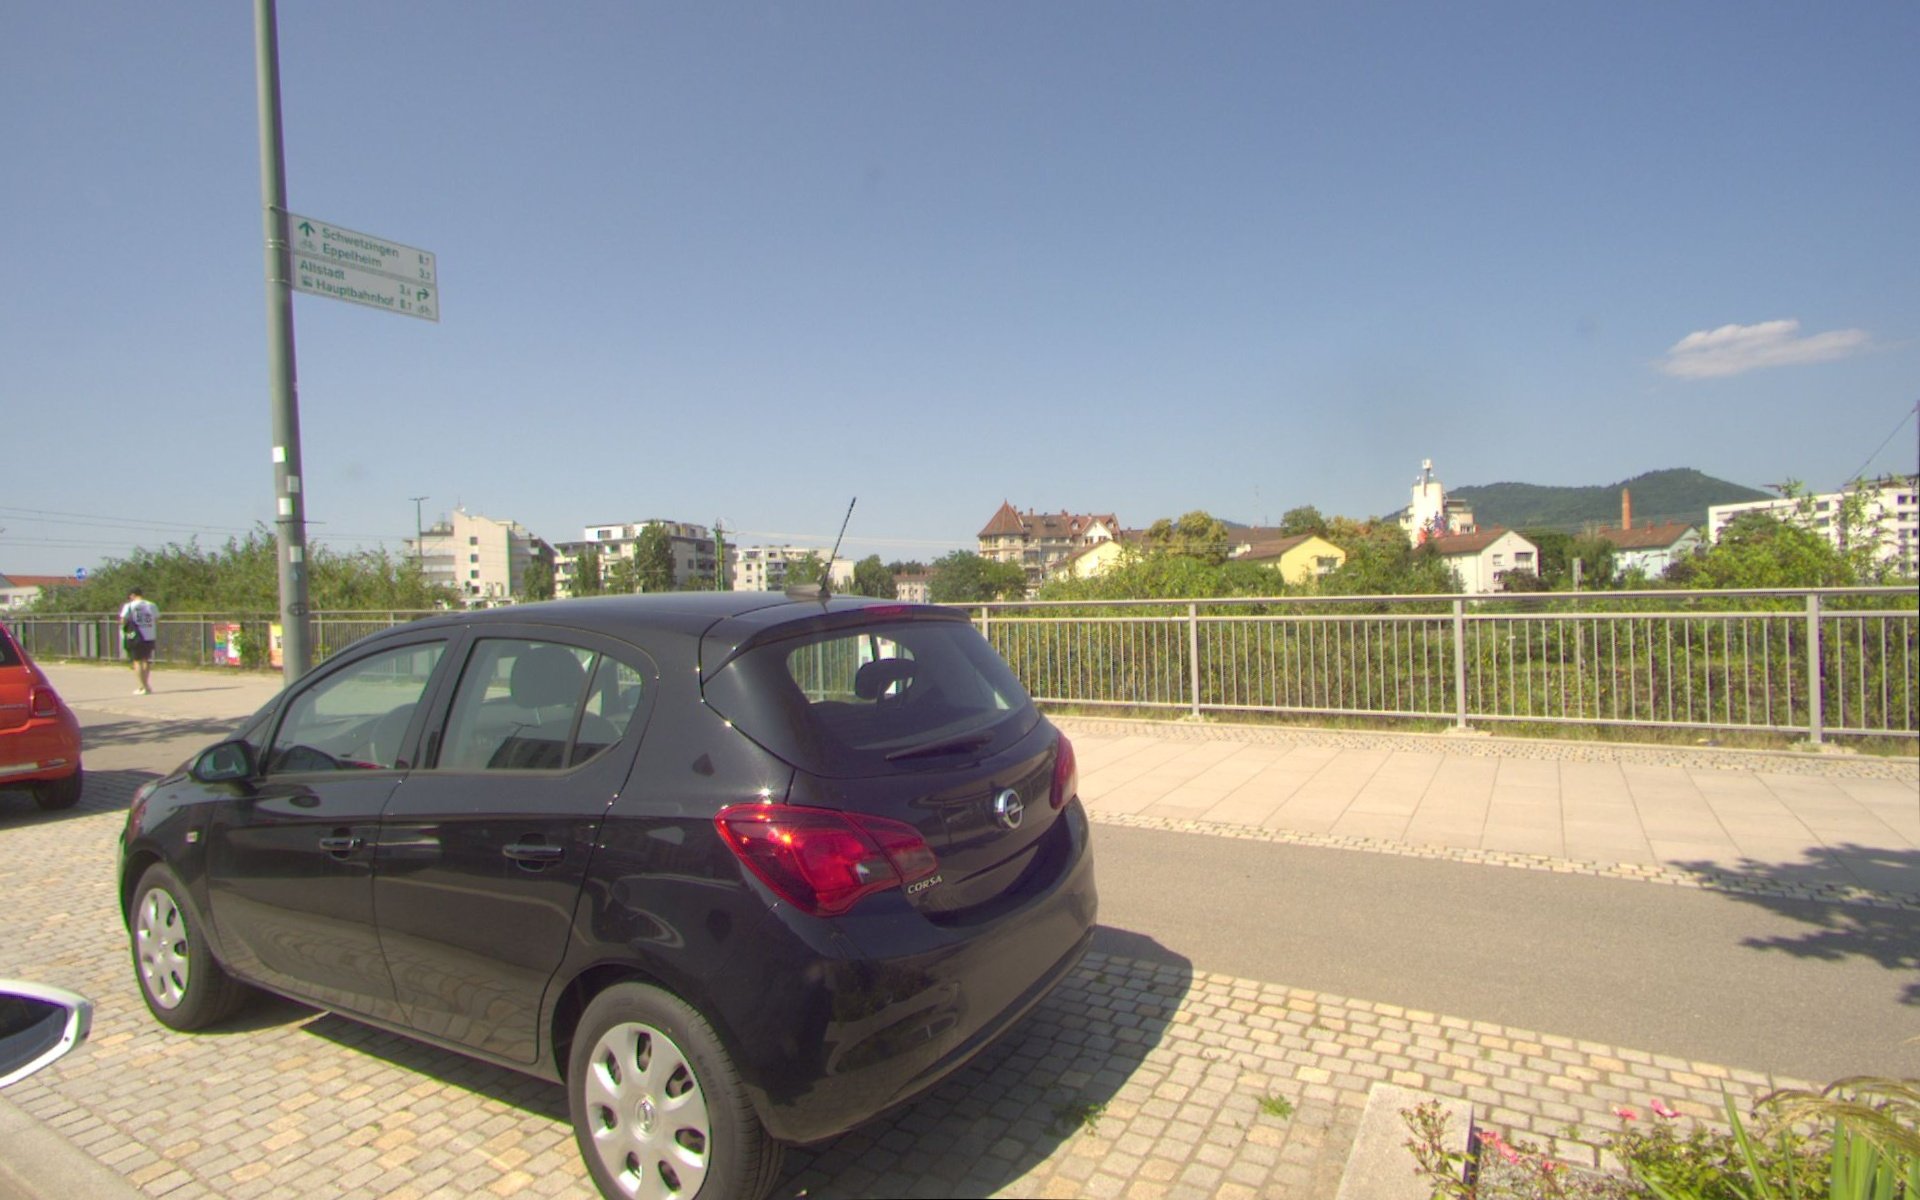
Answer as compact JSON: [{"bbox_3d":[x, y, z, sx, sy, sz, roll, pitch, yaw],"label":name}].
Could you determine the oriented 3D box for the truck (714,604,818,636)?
[{"bbox_3d":[-21.642,2.422,113.772,3.674,3.243,17.876,-1,-3,17],"label":"truck"}]

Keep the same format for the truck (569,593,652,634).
[{"bbox_3d":[-29.826,1.230,85.741,3.672,3.243,6.485,-1,-2,17],"label":"truck"}]

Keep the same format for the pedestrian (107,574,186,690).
[{"bbox_3d":[-13.384,0.533,16.486,0.872,1.853,0.757,-1,-2,32],"label":"pedestrian"}]

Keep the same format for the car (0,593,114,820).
[{"bbox_3d":[-8.379,0.759,7.741,3.860,1.561,1.666,0,1,32],"label":"car"}]

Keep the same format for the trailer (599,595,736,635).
[{"bbox_3d":[-27.143,1.604,94.655,3.674,3.243,17.244,-1,-3,17],"label":"trailer"}]

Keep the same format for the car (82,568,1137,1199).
[{"bbox_3d":[-1.332,0.731,3.483,3.495,1.577,1.577,-1,2,32],"label":"car"}]
